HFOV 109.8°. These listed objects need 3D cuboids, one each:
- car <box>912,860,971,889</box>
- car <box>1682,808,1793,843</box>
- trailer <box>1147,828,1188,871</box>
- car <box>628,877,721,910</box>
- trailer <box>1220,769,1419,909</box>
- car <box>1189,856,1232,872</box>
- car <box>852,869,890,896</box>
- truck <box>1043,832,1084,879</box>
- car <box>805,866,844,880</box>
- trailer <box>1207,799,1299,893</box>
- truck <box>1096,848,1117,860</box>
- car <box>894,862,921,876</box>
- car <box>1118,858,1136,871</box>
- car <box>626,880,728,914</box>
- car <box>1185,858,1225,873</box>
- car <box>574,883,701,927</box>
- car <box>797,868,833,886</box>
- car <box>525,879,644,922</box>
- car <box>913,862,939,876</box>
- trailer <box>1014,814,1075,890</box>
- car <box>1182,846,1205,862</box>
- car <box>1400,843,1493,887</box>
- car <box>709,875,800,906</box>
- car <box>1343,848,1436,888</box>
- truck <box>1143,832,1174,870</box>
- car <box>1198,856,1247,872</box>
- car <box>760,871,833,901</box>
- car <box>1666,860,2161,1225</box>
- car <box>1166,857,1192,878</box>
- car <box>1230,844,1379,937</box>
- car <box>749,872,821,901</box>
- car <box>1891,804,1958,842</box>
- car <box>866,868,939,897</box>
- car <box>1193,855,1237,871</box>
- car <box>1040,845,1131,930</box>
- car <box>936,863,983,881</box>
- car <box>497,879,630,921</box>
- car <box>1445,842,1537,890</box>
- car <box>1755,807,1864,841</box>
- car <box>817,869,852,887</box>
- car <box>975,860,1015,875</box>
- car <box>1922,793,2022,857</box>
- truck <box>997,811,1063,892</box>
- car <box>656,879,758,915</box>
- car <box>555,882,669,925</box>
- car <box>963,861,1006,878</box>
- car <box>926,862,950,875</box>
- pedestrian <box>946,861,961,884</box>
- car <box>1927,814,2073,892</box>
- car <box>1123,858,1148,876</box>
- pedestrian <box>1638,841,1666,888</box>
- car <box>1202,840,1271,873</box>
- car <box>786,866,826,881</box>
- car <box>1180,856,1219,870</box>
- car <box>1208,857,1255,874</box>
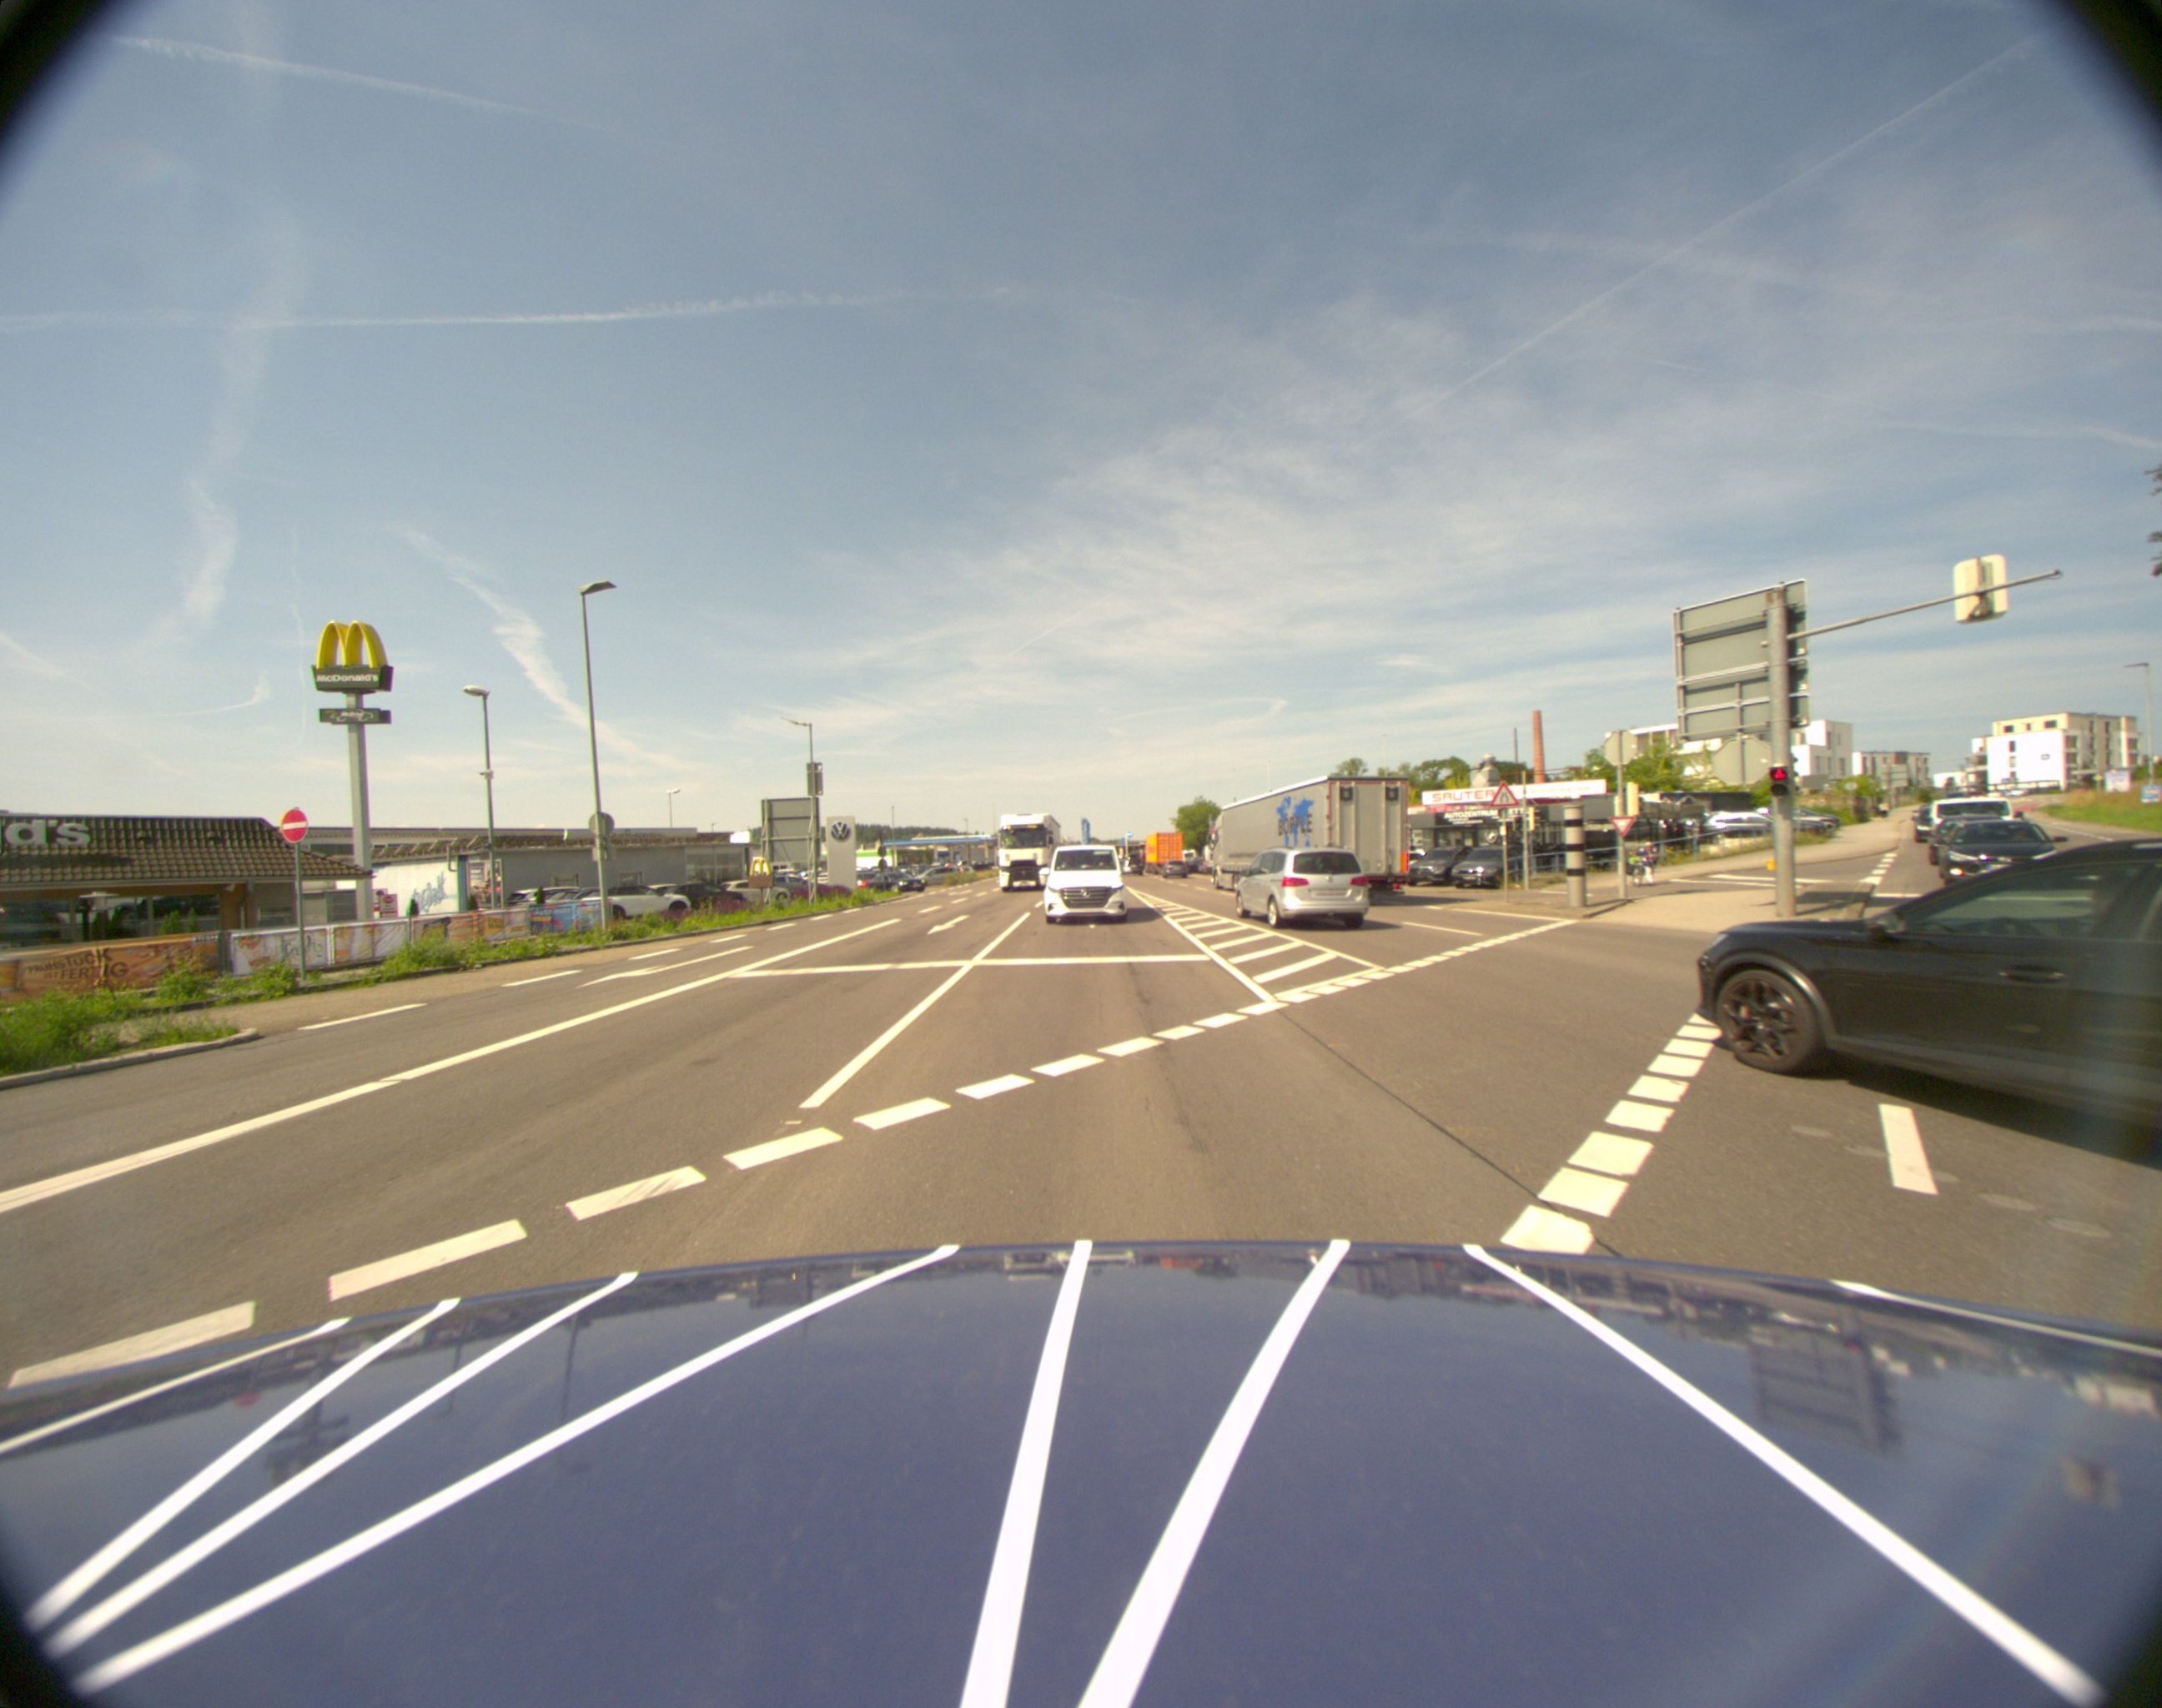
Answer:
[{"bbox_3d":[-11.337,1.613,61.950,4.355,2.200,1.760,-1,0,-28],"label":"car"},{"bbox_3d":[33.652,-1.427,39.021,2.003,1.554,4.059,-4,2,-42],"label":"car"},{"bbox_3d":[8.627,-0.389,77.271,2.727,3.975,12.234,-1,0,0],"label":"trailer"},{"bbox_3d":[-21.596,2.065,40.481,1.771,1.509,3.968,-1,0,37],"label":"car"},{"bbox_3d":[8.419,-0.435,29.640,2.699,4.123,13.875,-1,0,-3],"label":"trailer"},{"bbox_3d":[13.011,1.017,76.456,3.996,1.443,1.946,-1,0,2],"label":"car"},{"bbox_3d":[-14.106,1.863,50.885,1.778,1.645,4.069,-4,1,-24],"label":"car"},{"bbox_3d":[-1.480,0.109,69.938,2.646,3.963,9.242,-1,0,5],"label":"truck"},{"bbox_3d":[-29.857,2.225,88.608,1.819,1.423,4.491,-1,0,23],"label":"car"},{"bbox_3d":[8.056,-0.343,36.434,2.653,4.081,6.179,-1,0,-3],"label":"trailer"},{"bbox_3d":[6.189,-0.081,184.392,2.437,2.820,6.053,-1,0,31],"label":"truck"},{"bbox_3d":[-21.955,1.922,96.325,1.774,1.644,4.540,-1,0,7],"label":"car"},{"bbox_3d":[5.291,1.195,87.776,1.866,1.515,4.589,0,-1,1],"label":"car"},{"bbox_3d":[-20.397,2.146,38.522,1.791,1.442,4.163,-1,0,37],"label":"car"},{"bbox_3d":[13.193,1.203,81.077,3.996,1.473,1.756,-1,0,3],"label":"car"},{"bbox_3d":[-18.717,2.109,32.253,1.855,1.567,4.242,-1,0,37],"label":"car"},{"bbox_3d":[-28.099,2.427,80.447,1.821,1.719,4.540,-1,0,7],"label":"car"},{"bbox_3d":[-22.664,2.079,34.837,1.771,1.661,4.178,-1,0,37],"label":"car"},{"bbox_3d":[-19.451,1.867,95.653,1.774,1.644,4.540,-1,0,7],"label":"car"},{"bbox_3d":[-2.114,-0.117,48.415,2.613,4.203,11.294,-1,0,3],"label":"trailer"},{"bbox_3d":[18.233,-0.037,122.644,2.435,2.529,6.051,-2,0,21],"label":"car"},{"bbox_3d":[16.475,0.464,34.161,4.804,1.617,1.927,-5,2,-41],"label":"car"},{"bbox_3d":[-18.006,1.991,42.091,1.744,1.483,4.273,-1,0,37],"label":"car"},{"bbox_3d":[14.626,0.636,35.948,4.723,1.504,1.950,-5,1,-39],"label":"car"},{"bbox_3d":[8.558,-0.298,84.917,2.728,3.975,6.056,-1,0,-1],"label":"truck"},{"bbox_3d":[13.251,0.938,71.221,4.258,1.459,1.874,-1,0,2],"label":"car"},{"bbox_3d":[-17.862,1.983,47.746,4.031,1.661,1.772,-1,0,-29],"label":"car"},{"bbox_3d":[5.512,0.797,3.595,1.999,1.476,4.453,-1,0,-1],"label":"car"},{"bbox_3d":[7.748,1.079,60.288,1.925,1.592,4.591,0,-1,6],"label":"car"},{"bbox_3d":[4.815,0.743,17.134,1.848,1.722,4.588,-3,-1,-1],"label":"car"},{"bbox_3d":[-19.326,2.096,49.602,4.007,1.661,1.916,-1,0,-36],"label":"car"},{"bbox_3d":[39.157,-1.463,35.373,4.517,1.554,1.994,-4,2,-43],"label":"car"},{"bbox_3d":[-10.717,1.715,45.420,1.969,1.325,4.805,-8,1,-44],"label":"car"},{"bbox_3d":[12.995,0.895,73.790,3.997,1.445,1.906,-1,0,1],"label":"car"},{"bbox_3d":[0.152,0.755,19.961,1.993,1.858,5.804,-1,0,1],"label":"car"},{"bbox_3d":[-11.326,1.675,70.941,4.005,1.549,1.709,-1,0,-27],"label":"car"},{"bbox_3d":[-24.482,2.120,36.141,1.907,1.661,4.828,-1,0,37],"label":"car"},{"bbox_3d":[17.351,0.476,32.049,4.750,1.616,1.885,-5,1,-42],"label":"car"},{"bbox_3d":[39.013,-1.584,40.729,2.003,1.554,4.059,-4,2,-42],"label":"car"},{"bbox_3d":[-25.607,2.452,79.071,1.774,1.644,4.540,-1,0,6],"label":"car"},{"bbox_3d":[-10.766,1.682,95.060,4.544,1.645,1.772,-1,0,-25],"label":"car"},{"bbox_3d":[33.204,-1.128,28.462,5.524,2.030,2.063,-5,1,-43],"label":"car"},{"bbox_3d":[-2.574,-0.125,40.574,2.646,3.963,6.043,-1,0,4],"label":"truck"},{"bbox_3d":[-18.345,2.084,37.414,1.771,1.523,4.098,-1,0,37],"label":"car"},{"bbox_3d":[-20.841,2.143,33.868,1.771,1.661,3.918,-1,0,37],"label":"car"},{"bbox_3d":[-9.818,1.588,77.331,4.006,1.645,1.772,-1,0,-31],"label":"car"},{"bbox_3d":[-19.017,1.891,101.358,1.774,1.571,4.540,-1,0,7],"label":"car"},{"bbox_3d":[-10.720,1.528,63.812,0.990,1.900,0.742,-1,1,-33],"label":"pedestrian"},{"bbox_3d":[22.130,-0.073,18.478,4.644,1.518,1.910,-5,1,-43],"label":"car"},{"bbox_3d":[5.004,1.190,70.764,1.913,1.592,4.588,0,-1,-1],"label":"car"},{"bbox_3d":[19.267,0.350,25.638,0.385,1.526,0.495,-7,1,-11],"label":"pedestrian"},{"bbox_3d":[13.408,0.217,65.902,5.579,2.756,2.177,-1,0,3],"label":"car"},{"bbox_3d":[-32.272,2.239,89.370,1.819,1.574,4.545,-1,0,23],"label":"car"},{"bbox_3d":[13.048,0.956,83.842,3.974,1.484,1.739,-1,0,-2],"label":"car"},{"bbox_3d":[13.540,1.032,68.654,3.947,1.423,1.828,-1,0,3],"label":"car"}]
